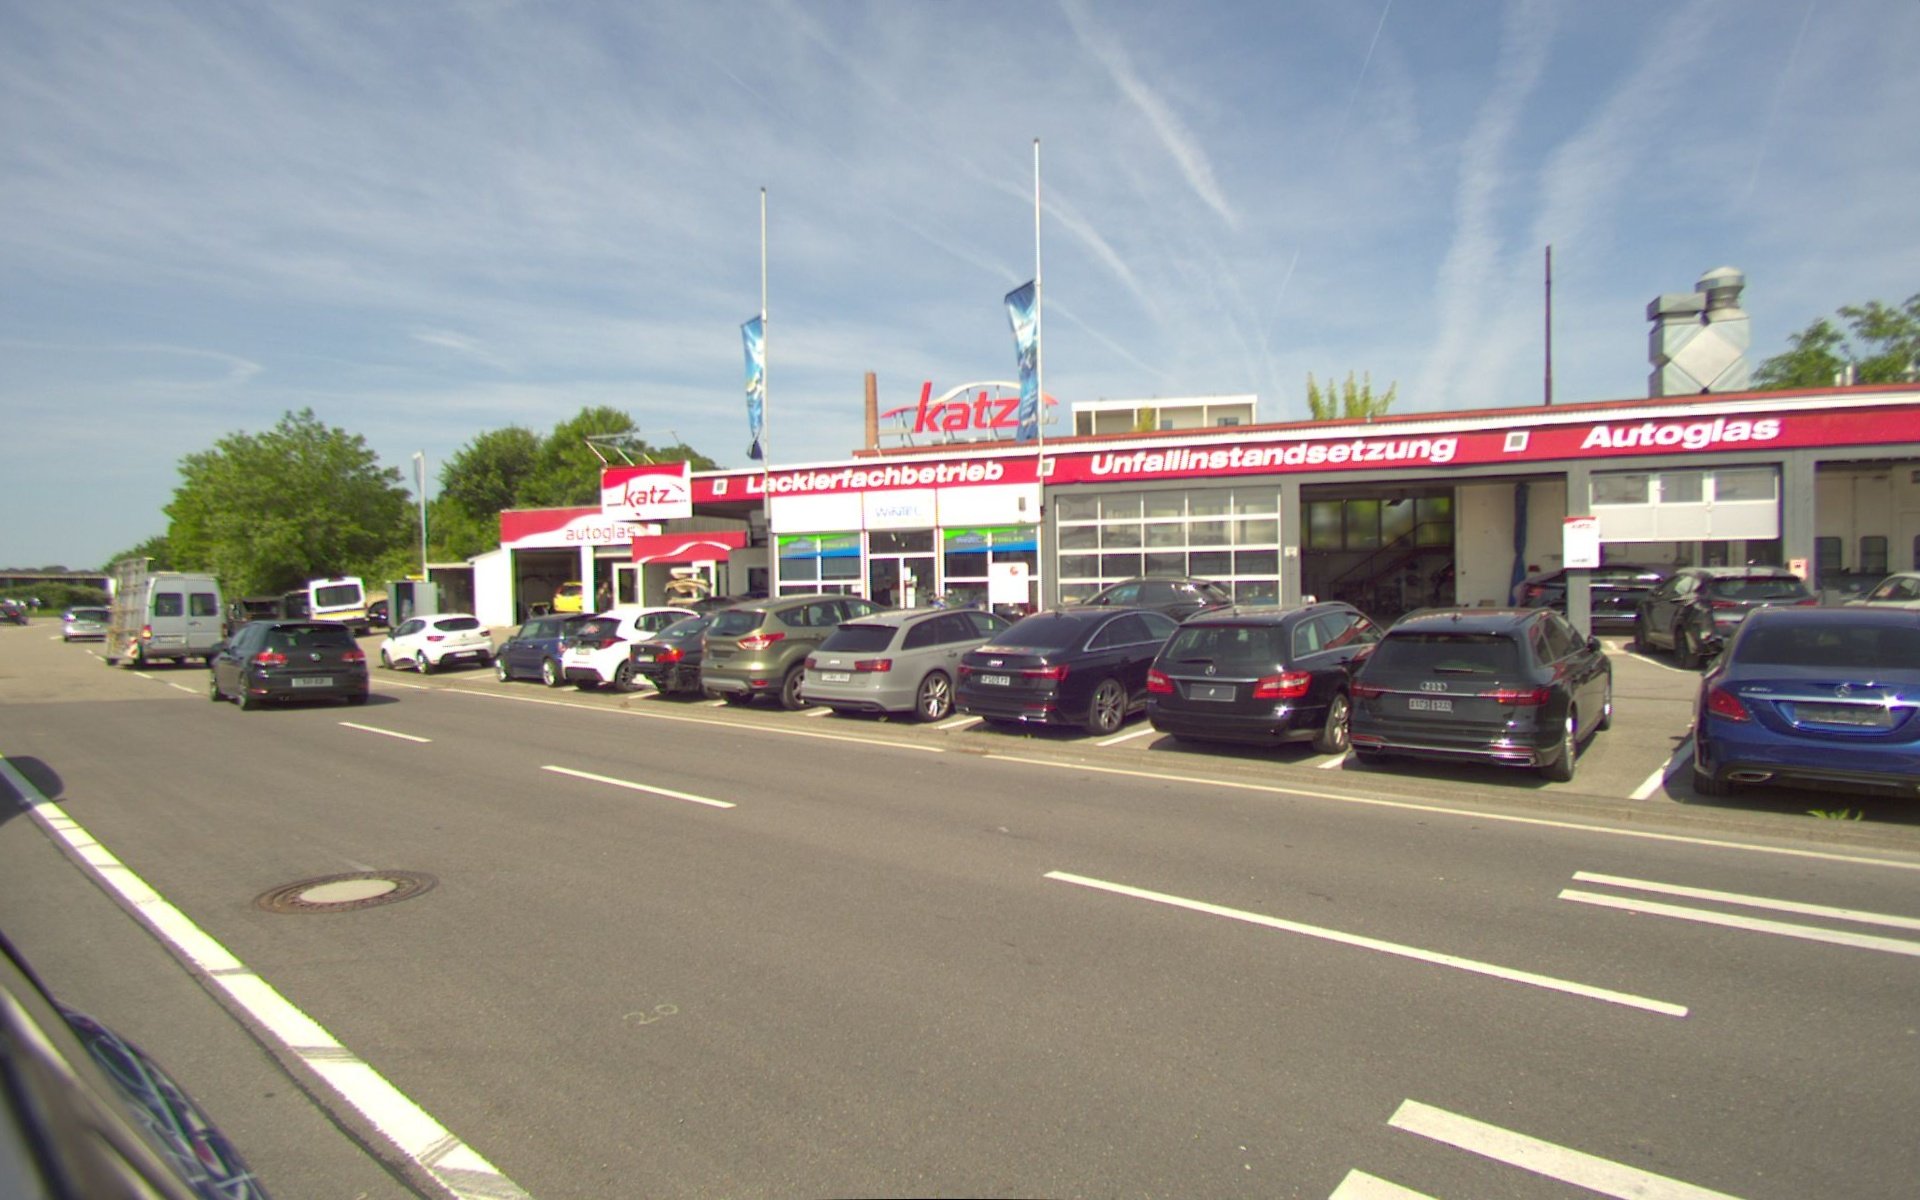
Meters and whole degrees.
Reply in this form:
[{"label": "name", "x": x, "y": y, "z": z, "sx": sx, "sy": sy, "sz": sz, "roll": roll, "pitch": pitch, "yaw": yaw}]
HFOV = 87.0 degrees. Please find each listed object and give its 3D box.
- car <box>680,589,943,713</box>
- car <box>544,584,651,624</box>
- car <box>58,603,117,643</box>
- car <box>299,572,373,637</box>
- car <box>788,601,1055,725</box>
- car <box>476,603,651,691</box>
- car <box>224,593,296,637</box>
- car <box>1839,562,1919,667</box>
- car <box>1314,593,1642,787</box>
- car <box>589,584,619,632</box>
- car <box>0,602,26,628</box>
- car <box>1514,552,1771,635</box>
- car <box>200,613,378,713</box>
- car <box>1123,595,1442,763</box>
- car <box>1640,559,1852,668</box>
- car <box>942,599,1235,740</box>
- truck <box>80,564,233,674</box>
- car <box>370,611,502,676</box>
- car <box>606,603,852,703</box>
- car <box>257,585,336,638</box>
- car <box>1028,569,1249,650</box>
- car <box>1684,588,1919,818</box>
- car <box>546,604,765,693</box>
[{"label": "car", "x": -2.307, "y": 0.718, "z": 16.431, "sx": 1.871, "sy": 1.740, "sz": 3.944, "roll": -1, "pitch": 0, "yaw": 42}, {"label": "car", "x": -15.776, "y": 0.136, "z": 44.263, "sx": 1.863, "sy": 1.666, "sz": 4.502, "roll": -1, "pitch": 0, "yaw": 22}, {"label": "car", "x": -42.105, "y": 1.109, "z": 48.784, "sx": 2.024, "sy": 1.837, "sz": 4.514, "roll": 1, "pitch": -2, "yaw": -42}, {"label": "car", "x": -26.793, "y": 0.179, "z": 43.652, "sx": 2.399, "sy": 2.563, "sz": 6.060, "roll": -2, "pitch": 1, "yaw": -29}, {"label": "car", "x": -0.430, "y": 0.794, "z": 14.656, "sx": 1.737, "sy": 1.504, "sz": 3.925, "roll": -1, "pitch": 0, "yaw": 38}, {"label": "car", "x": -8.647, "y": 0.943, "z": 21.916, "sx": 4.001, "sy": 1.567, "sz": 1.972, "roll": -1, "pitch": 4, "yaw": 44}, {"label": "car", "x": -38.832, "y": 0.840, "z": 56.118, "sx": 2.405, "sy": 2.280, "sz": 5.343, "roll": -2, "pitch": 1, "yaw": -44}, {"label": "car", "x": 16.257, "y": 0.190, "z": 16.423, "sx": 1.977, "sy": 1.618, "sz": 3.966, "roll": -1, "pitch": 0, "yaw": 25}, {"label": "car", "x": 5.183, "y": 0.685, "z": 9.863, "sx": 1.945, "sy": 1.463, "sz": 3.945, "roll": -1, "pitch": 0, "yaw": 41}, {"label": "car", "x": -14.011, "y": 0.302, "z": 39.854, "sx": 0.868, "sy": 1.849, "sz": 0.847, "roll": -1, "pitch": 0, "yaw": -36}, {"label": "car", "x": -69.292, "y": 1.062, "z": 73.273, "sx": 2.023, "sy": 1.837, "sz": 4.517, "roll": 1, "pitch": -1, "yaw": -38}, {"label": "car", "x": 14.777, "y": -0.105, "z": 22.268, "sx": 4.447, "sy": 1.666, "sz": 1.858, "roll": -1, "pitch": 0, "yaw": 28}, {"label": "car", "x": -11.568, "y": 0.972, "z": 17.344, "sx": 1.833, "sy": 1.471, "sz": 4.003, "roll": -1, "pitch": 0, "yaw": -44}, {"label": "car", "x": 3.709, "y": 0.716, "z": 11.286, "sx": 1.949, "sy": 1.510, "sz": 3.826, "roll": -1, "pitch": 0, "yaw": 43}, {"label": "car", "x": 13.181, "y": 0.191, "z": 17.273, "sx": 1.864, "sy": 1.631, "sz": 3.969, "roll": -1, "pitch": 0, "yaw": 23}, {"label": "car", "x": 1.770, "y": 0.758, "z": 12.978, "sx": 1.756, "sy": 1.493, "sz": 3.943, "roll": -1, "pitch": 0, "yaw": 43}, {"label": "truck", "x": -23.336, "y": 0.508, "z": 29.291, "sx": 6.038, "sy": 2.858, "sz": 2.410, "roll": -1, "pitch": 0, "yaw": 41}, {"label": "car", "x": -13.693, "y": 1.075, "z": 26.365, "sx": 4.000, "sy": 1.424, "sz": 1.742, "roll": -1, "pitch": 3, "yaw": 43}, {"label": "car", "x": -4.045, "y": 0.856, "z": 18.197, "sx": 1.998, "sy": 1.536, "sz": 3.947, "roll": -1, "pitch": 0, "yaw": 39}, {"label": "car", "x": -34.364, "y": 0.572, "z": 52.343, "sx": 2.405, "sy": 2.563, "sz": 5.343, "roll": -2, "pitch": 1, "yaw": -44}, {"label": "car", "x": 3.961, "y": 0.214, "z": 22.484, "sx": 4.508, "sy": 1.666, "sz": 1.861, "roll": -1, "pitch": 0, "yaw": 24}, {"label": "car", "x": 7.208, "y": 0.648, "z": 8.135, "sx": 1.905, "sy": 1.465, "sz": 3.946, "roll": -1, "pitch": 0, "yaw": 41}, {"label": "car", "x": -5.974, "y": 0.881, "z": 20.151, "sx": 1.940, "sy": 1.562, "sz": 3.750, "roll": -1, "pitch": 0, "yaw": 39}]
